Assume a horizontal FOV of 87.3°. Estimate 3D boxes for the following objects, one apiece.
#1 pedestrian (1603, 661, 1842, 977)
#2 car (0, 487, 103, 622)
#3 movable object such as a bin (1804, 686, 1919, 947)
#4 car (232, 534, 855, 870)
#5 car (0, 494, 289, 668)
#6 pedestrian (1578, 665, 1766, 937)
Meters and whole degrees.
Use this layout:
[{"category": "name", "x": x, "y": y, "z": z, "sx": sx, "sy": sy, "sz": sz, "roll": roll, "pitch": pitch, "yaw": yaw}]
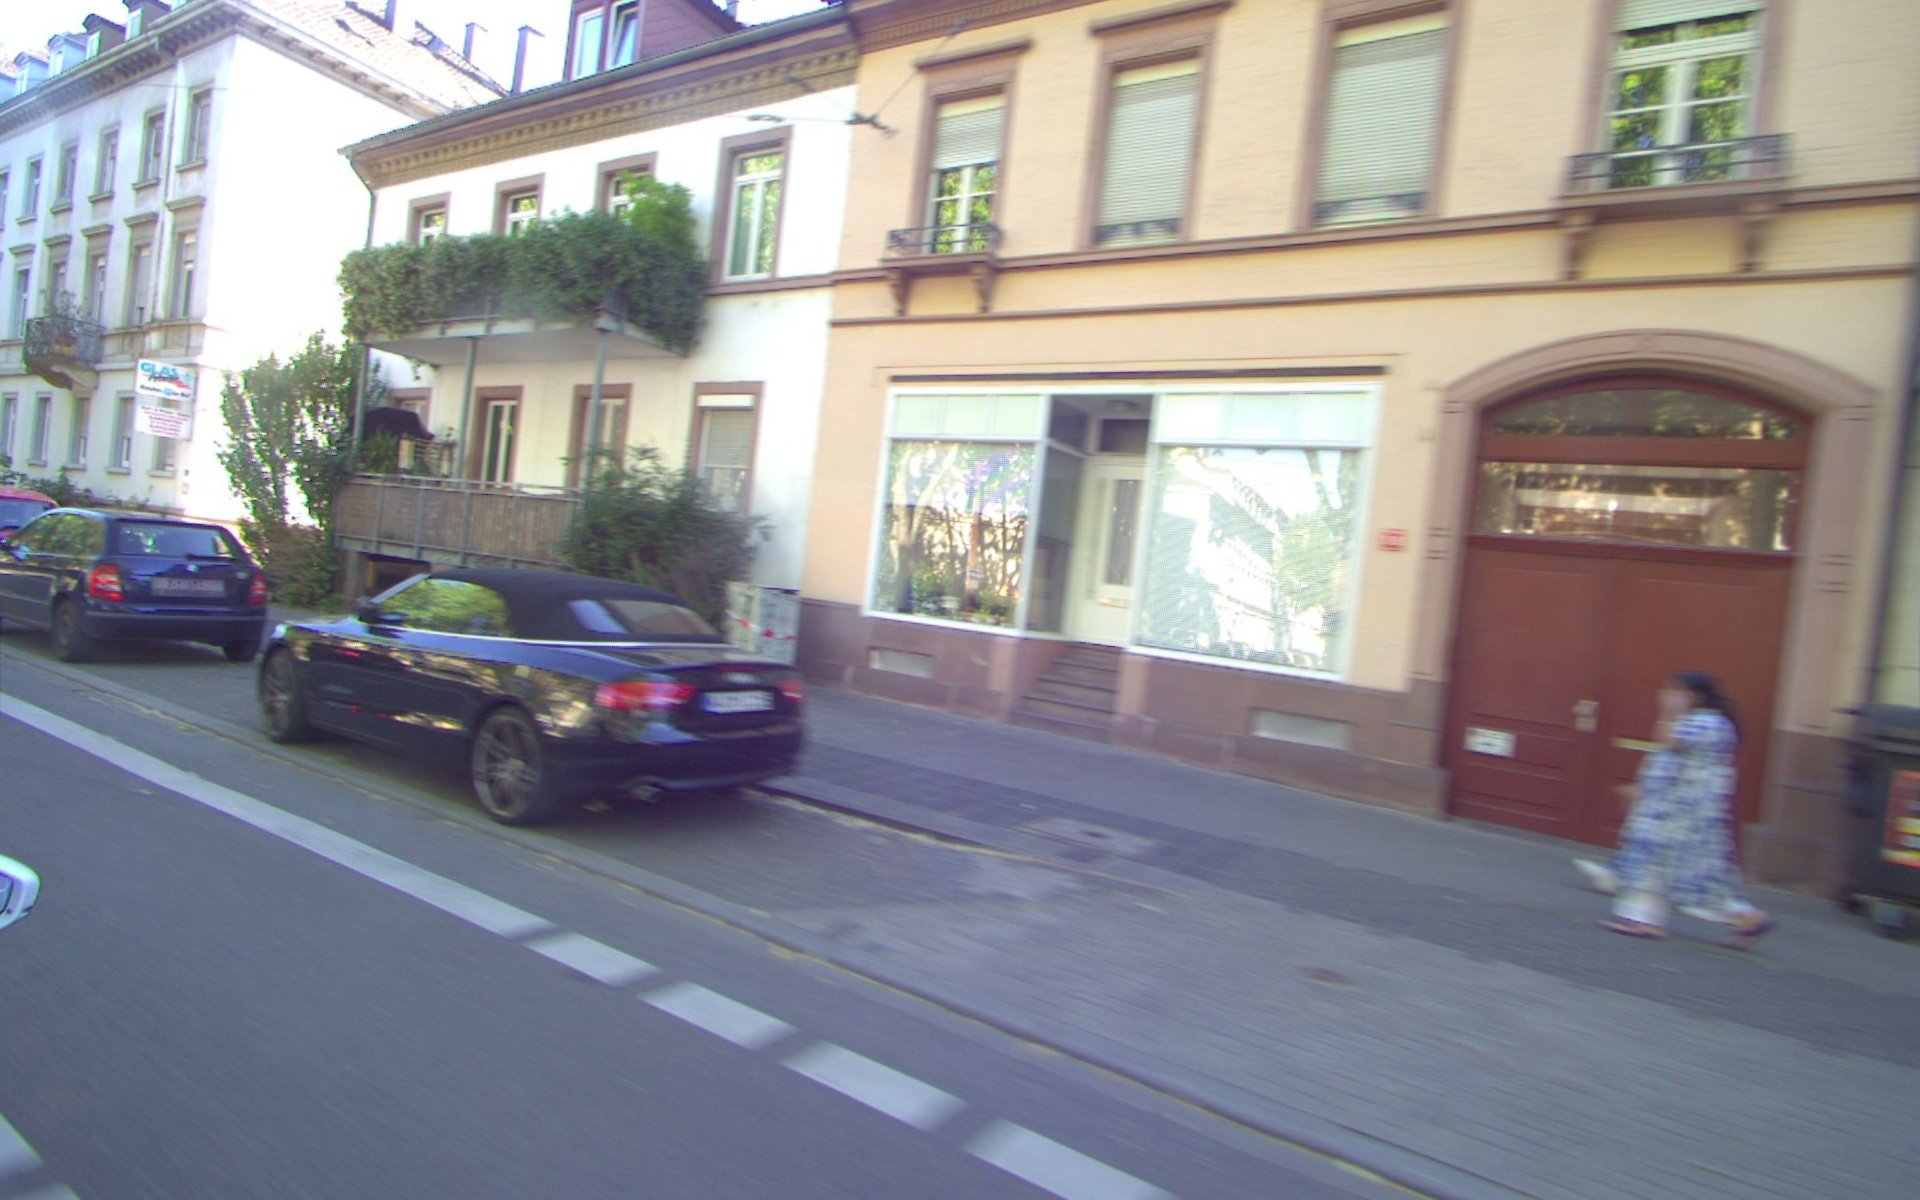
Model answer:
[{"category": "pedestrian", "x": 4.214, "y": 1.152, "z": 5.642, "sx": 0.852, "sy": 1.524, "sz": 0.660, "roll": 7, "pitch": 2, "yaw": 31}, {"category": "car", "x": -12.814, "y": -0.711, "z": 13.028, "sx": 3.518, "sy": 1.566, "sz": 1.635, "roll": 7, "pitch": 1, "yaw": 34}, {"category": "movable object such as a bin", "x": 6.461, "y": 1.411, "z": 6.465, "sx": 1.265, "sy": 1.539, "sz": 1.295, "roll": 7, "pitch": 0, "yaw": 32}, {"category": "car", "x": -3.022, "y": 0.473, "z": 6.892, "sx": 4.422, "sy": 1.410, "sz": 1.694, "roll": 7, "pitch": 1, "yaw": 34}, {"category": "car", "x": -9.031, "y": -0.256, "z": 10.740, "sx": 3.805, "sy": 1.475, "sz": 1.652, "roll": 6, "pitch": 1, "yaw": 32}, {"category": "pedestrian", "x": 4.462, "y": 1.214, "z": 6.367, "sx": 0.772, "sy": 1.501, "sz": 0.658, "roll": 7, "pitch": 0, "yaw": 31}]
